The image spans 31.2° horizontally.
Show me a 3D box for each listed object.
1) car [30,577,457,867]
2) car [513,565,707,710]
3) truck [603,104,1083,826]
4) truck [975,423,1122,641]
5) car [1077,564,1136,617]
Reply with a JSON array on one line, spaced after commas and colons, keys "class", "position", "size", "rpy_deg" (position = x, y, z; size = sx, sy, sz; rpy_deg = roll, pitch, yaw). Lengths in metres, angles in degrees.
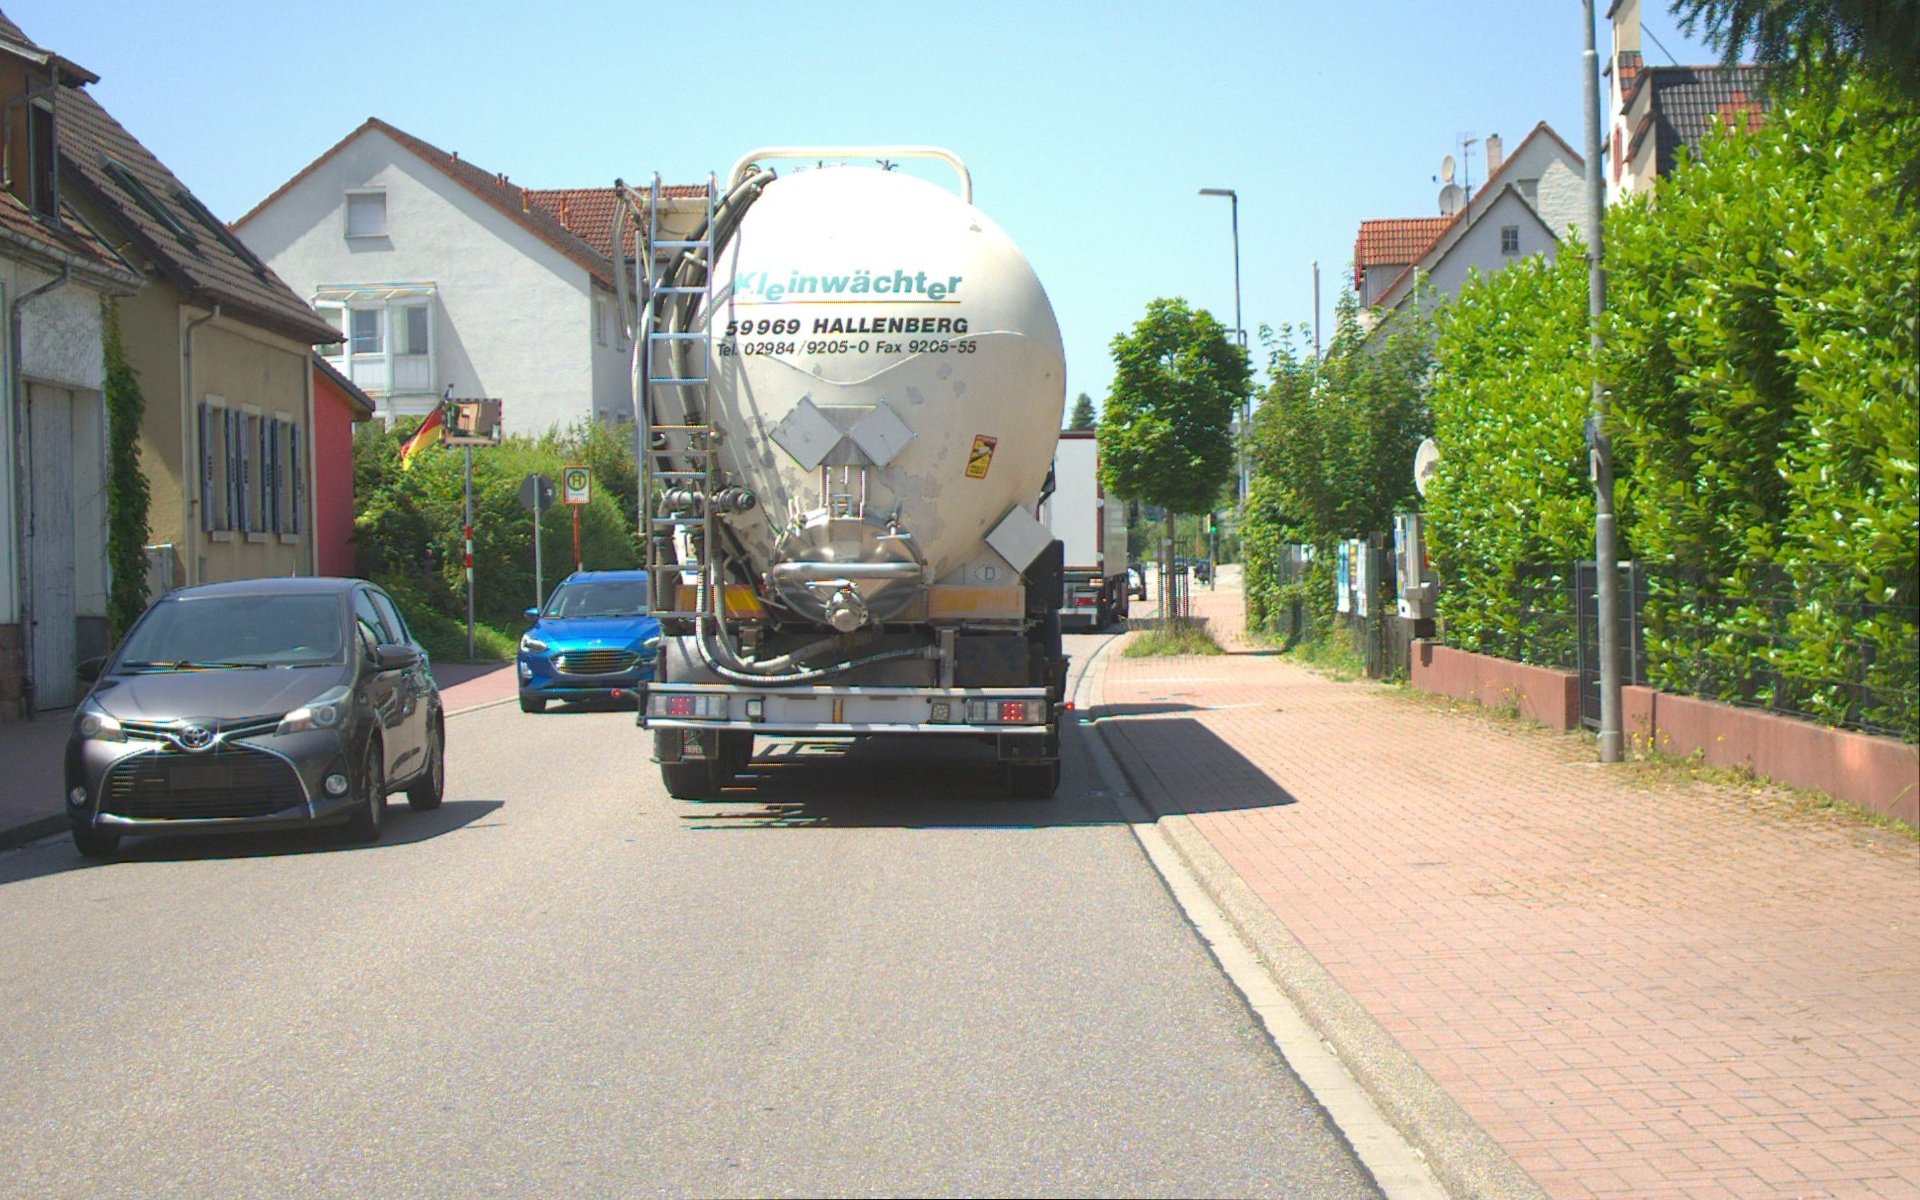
[{"class": "car", "position": [-4.108, 0.636, 20.309], "size": [1.676, 1.454, 3.929], "rpy_deg": [-3, 1, -1]}, {"class": "car", "position": [-3.754, 0.361, 37.519], "size": [1.645, 1.449, 4.401], "rpy_deg": [-1, 1, 0]}, {"class": "truck", "position": [-0.684, -0.822, 23.928], "size": [2.641, 4.002, 9.562], "rpy_deg": [0, 1, 0]}, {"class": "truck", "position": [2.009, -1.417, 73.083], "size": [2.641, 4.210, 12.092], "rpy_deg": [0, 1, 4]}, {"class": "car", "position": [5.051, -0.342, 118.042], "size": [1.874, 1.551, 4.628], "rpy_deg": [-2, 3, 4]}]
